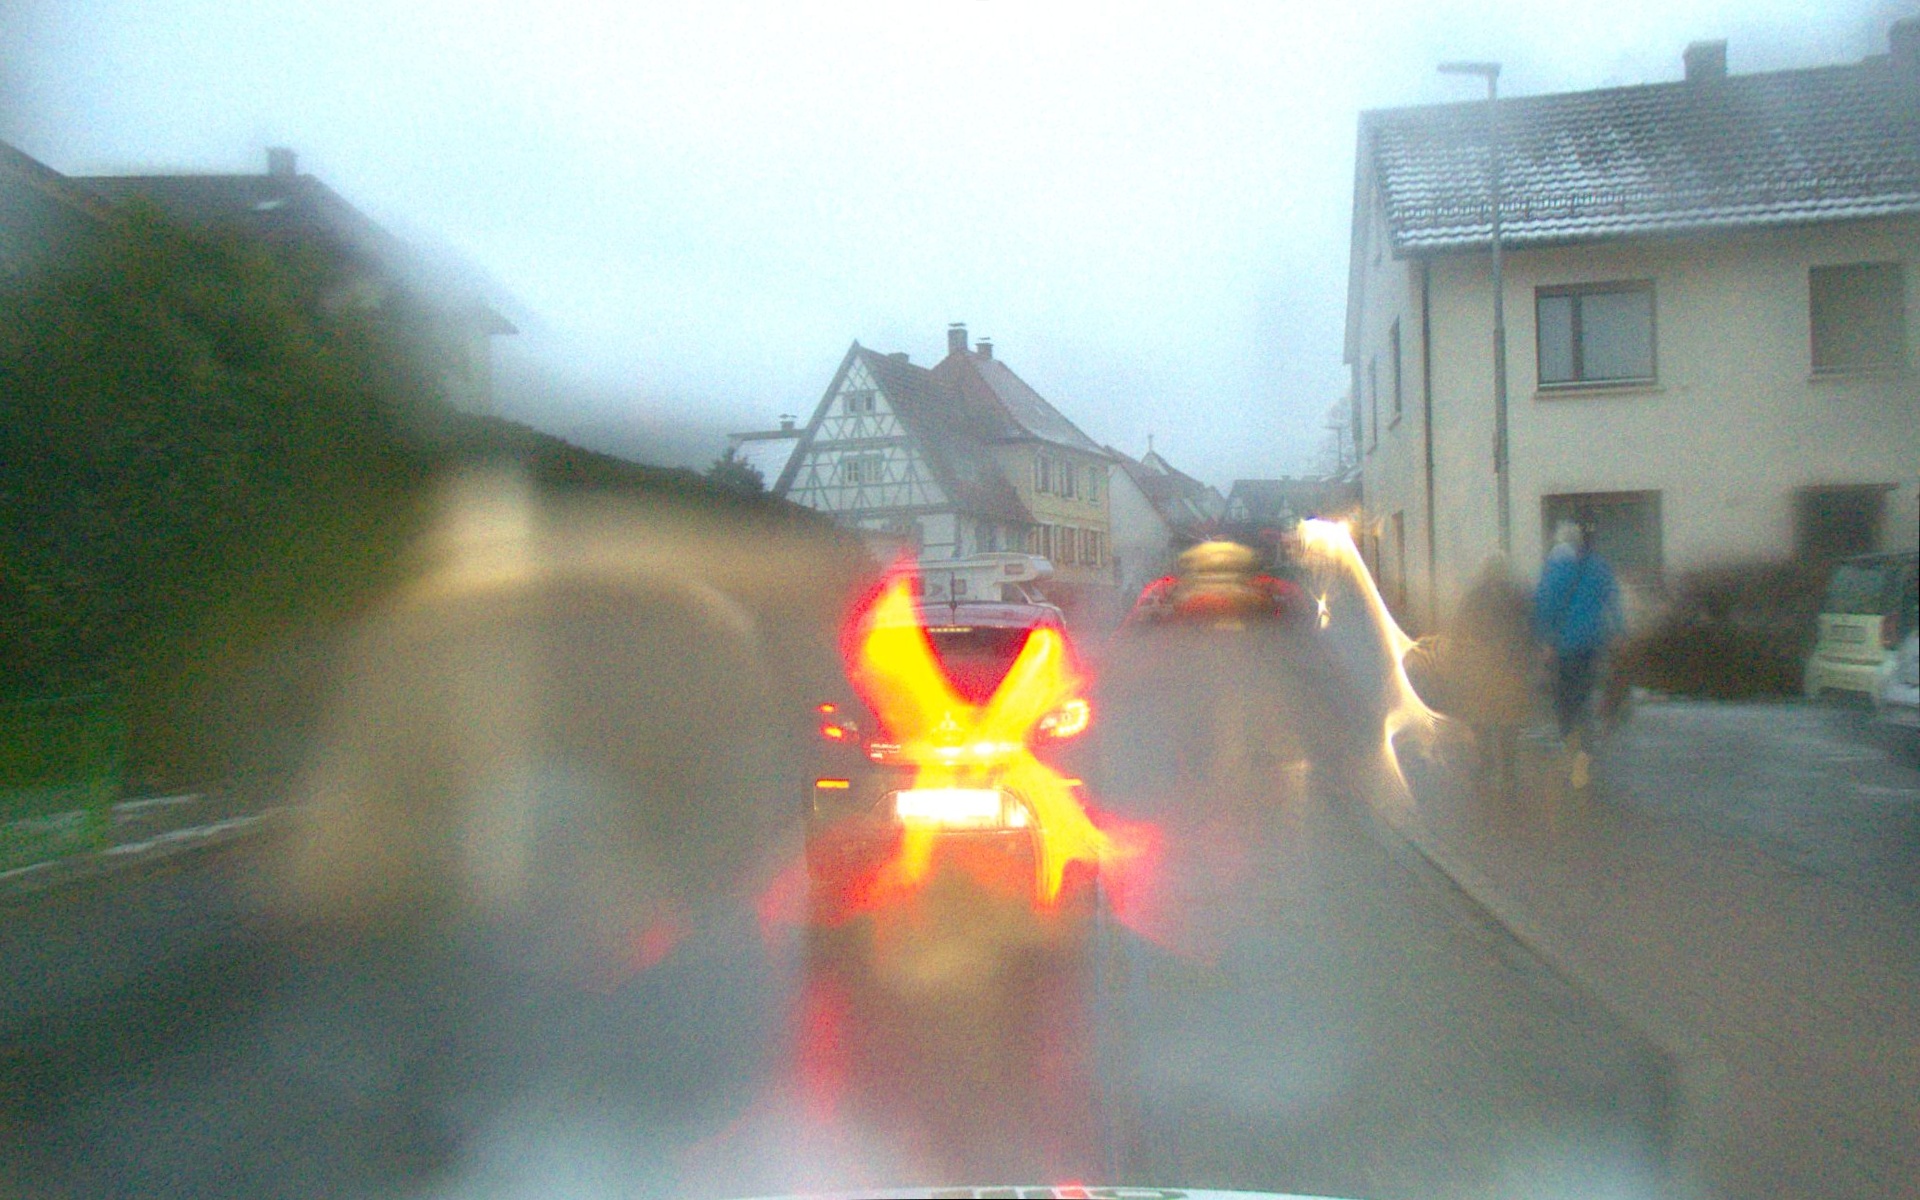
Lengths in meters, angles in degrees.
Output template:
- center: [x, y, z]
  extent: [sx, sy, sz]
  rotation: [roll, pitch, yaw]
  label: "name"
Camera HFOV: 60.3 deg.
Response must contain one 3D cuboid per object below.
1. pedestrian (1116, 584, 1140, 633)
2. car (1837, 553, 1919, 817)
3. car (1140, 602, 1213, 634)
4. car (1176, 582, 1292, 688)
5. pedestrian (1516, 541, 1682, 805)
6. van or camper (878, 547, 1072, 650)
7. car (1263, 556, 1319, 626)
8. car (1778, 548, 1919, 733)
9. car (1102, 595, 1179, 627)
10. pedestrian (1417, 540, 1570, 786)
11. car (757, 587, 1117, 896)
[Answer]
- center: [7.021, 0.348, 69.152]
  extent: [0.855, 2.049, 0.795]
  rotation: [-1, 0, 12]
  label: "pedestrian"
- center: [7.348, 0.404, 9.325]
  extent: [3.817, 1.500, 1.752]
  rotation: [-2, 0, 5]
  label: "car"
- center: [10.908, 0.903, 83.281]
  extent: [3.433, 1.533, 1.693]
  rotation: [-1, 0, 14]
  label: "car"
- center: [4.679, 0.554, 28.394]
  extent: [1.808, 1.665, 4.339]
  rotation: [0, 0, 9]
  label: "car"
- center: [4.546, 0.503, 11.845]
  extent: [0.830, 1.763, 0.972]
  rotation: [-4, 0, 10]
  label: "pedestrian"
- center: [0.516, -0.022, 55.658]
  extent: [5.934, 3.006, 2.407]
  rotation: [-4, -1, 18]
  label: "van or camper"
- center: [12.019, -0.318, 59.849]
  extent: [1.775, 2.455, 3.754]
  rotation: [-1, 0, 14]
  label: "car"
- center: [9.059, 0.271, 14.288]
  extent: [3.149, 1.500, 1.588]
  rotation: [-2, 0, 3]
  label: "car"
- center: [8.860, 0.540, 81.077]
  extent: [3.434, 1.533, 1.693]
  rotation: [-1, 0, 20]
  label: "car"
- center: [3.917, 0.446, 12.230]
  extent: [0.848, 1.696, 0.993]
  rotation: [-4, 0, 10]
  label: "pedestrian"
- center: [-0.058, 0.690, 10.106]
  extent: [1.758, 1.502, 4.001]
  rotation: [0, 0, 1]
  label: "car"
